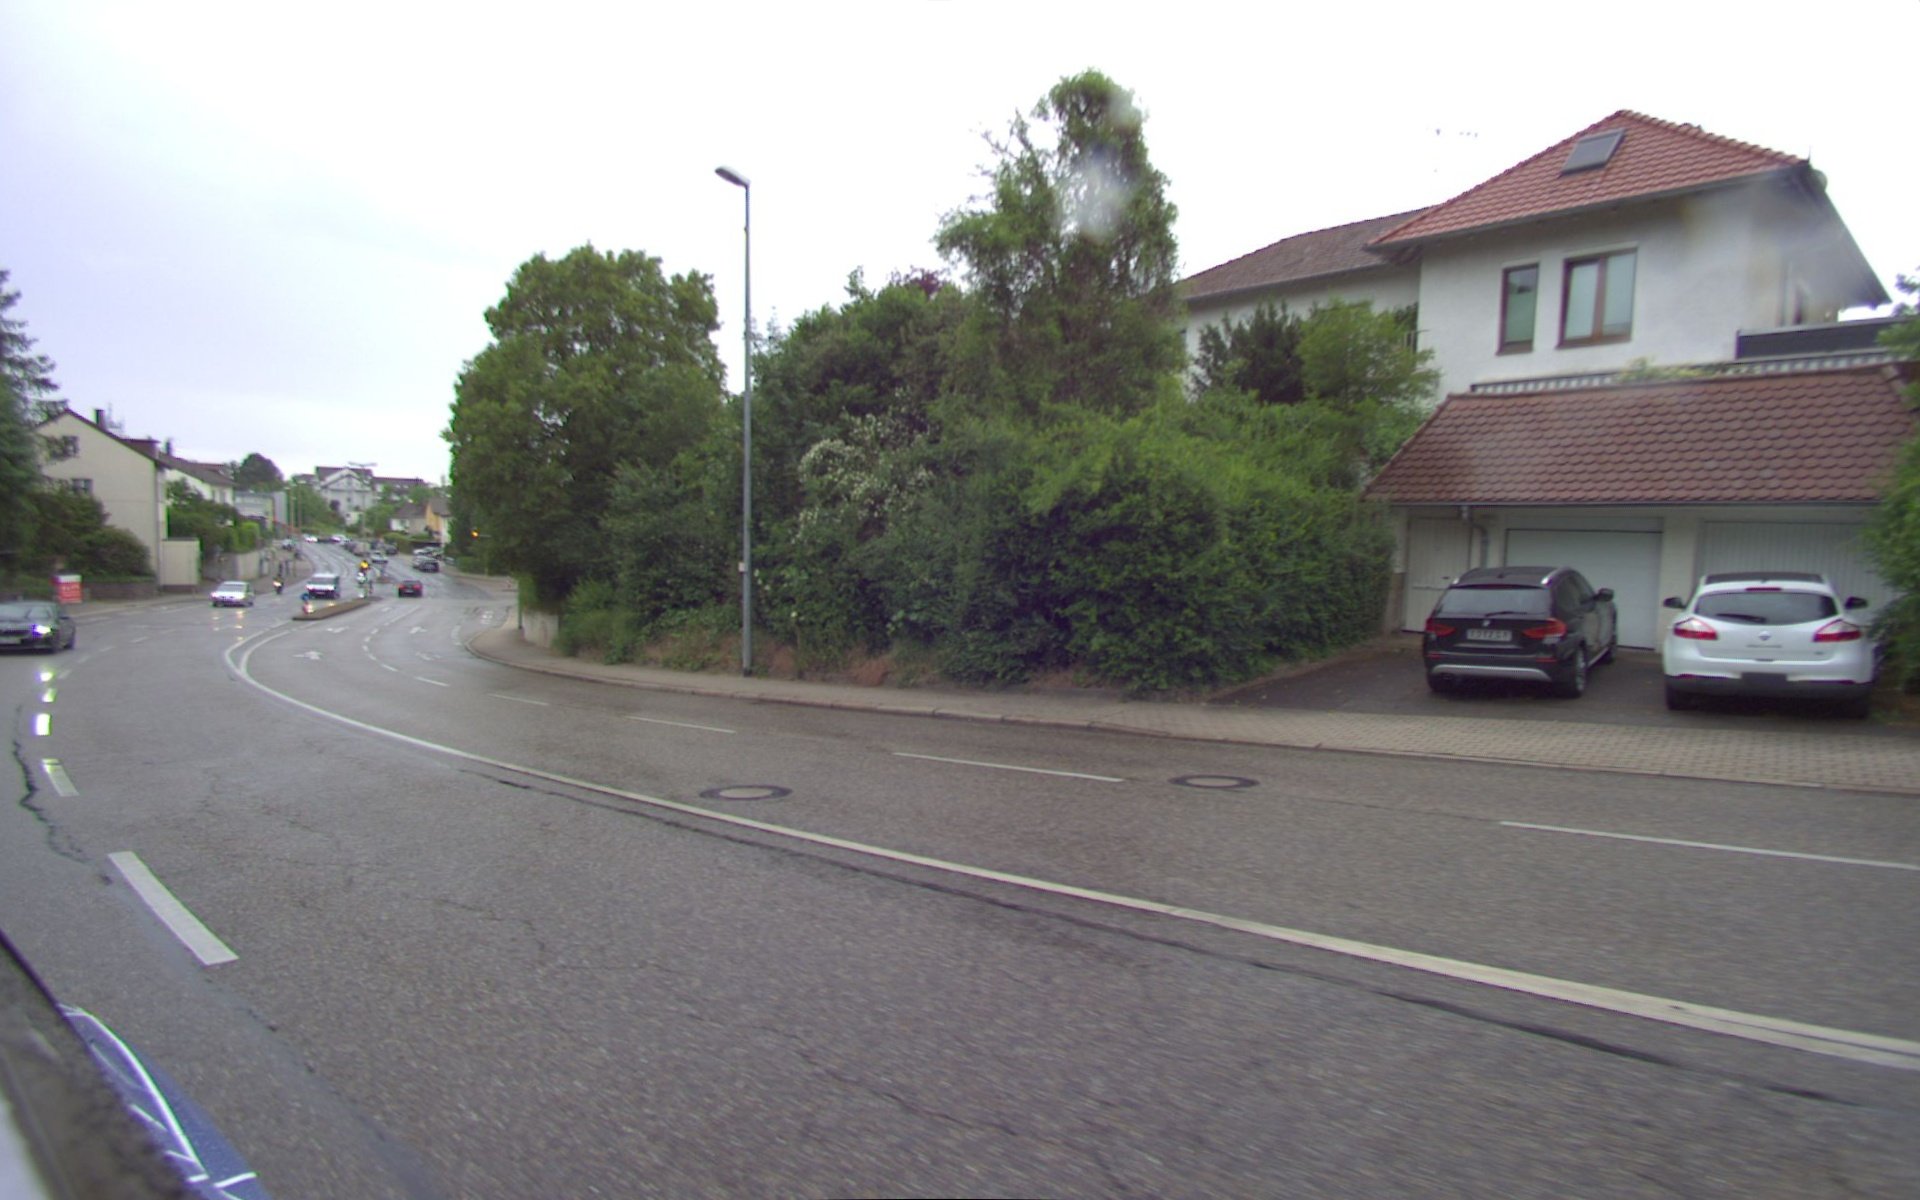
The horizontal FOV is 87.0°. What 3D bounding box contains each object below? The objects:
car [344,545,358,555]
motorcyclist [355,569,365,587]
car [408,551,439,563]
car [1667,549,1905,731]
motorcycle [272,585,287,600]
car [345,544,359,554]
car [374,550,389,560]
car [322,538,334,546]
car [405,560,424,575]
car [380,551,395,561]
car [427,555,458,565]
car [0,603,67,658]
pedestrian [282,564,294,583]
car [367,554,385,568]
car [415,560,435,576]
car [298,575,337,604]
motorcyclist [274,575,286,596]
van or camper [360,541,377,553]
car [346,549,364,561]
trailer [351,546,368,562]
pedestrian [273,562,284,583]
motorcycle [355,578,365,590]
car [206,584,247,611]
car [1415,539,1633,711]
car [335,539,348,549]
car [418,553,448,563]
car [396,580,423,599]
[{"bbox_3d":[-101.544,-8.380,168.815,1.816,1.563,4.397,2,3,-33],"label":"car"},{"bbox_3d":[-57.004,-2.086,96.216,0.749,1.614,0.811,1,4,-28],"label":"motorcyclist"},{"bbox_3d":[-87.156,-6.958,164.507,4.048,1.495,1.843,5,0,-41],"label":"car"},{"bbox_3d":[9.423,0.310,11.815,1.852,1.457,3.954,-1,6,36],"label":"car"},{"bbox_3d":[-55.193,-0.607,82.113,0.750,0.959,2.451,1,4,-29],"label":"motorcycle"},{"bbox_3d":[-108.330,-9.116,180.269,1.966,1.585,4.012,1,4,-33],"label":"car"},{"bbox_3d":[-96.887,-7.580,169.424,1.781,1.426,4.011,1,3,-36],"label":"car"},{"bbox_3d":[-126.699,-11.672,202.864,1.689,1.513,4.011,1,4,-35],"label":"car"},{"bbox_3d":[-70.227,-4.187,130.226,1.780,1.580,4.155,1,4,-34],"label":"car"},{"bbox_3d":[-93.208,-7.144,164.707,1.780,1.426,4.012,1,3,-34],"label":"car"},{"bbox_3d":[-77.571,-6.023,151.639,3.933,1.430,1.890,-3,6,-34],"label":"car"},{"bbox_3d":[-27.630,0.856,29.763,1.812,1.468,4.008,1,0,-39],"label":"car"},{"bbox_3d":[-67.354,-2.662,101.427,0.782,1.793,1.015,3,3,-28],"label":"pedestrian"},{"bbox_3d":[-80.803,-5.366,140.009,1.799,1.669,4.478,2,3,-35],"label":"car"},{"bbox_3d":[-66.263,-3.989,125.315,1.780,1.681,4.612,1,4,-34],"label":"car"},{"bbox_3d":[-49.619,-0.820,78.266,1.923,1.884,4.763,2,3,-26],"label":"car"},{"bbox_3d":[-55.158,-1.161,82.115,0.749,1.614,0.811,1,4,-29],"label":"motorcyclist"},{"bbox_3d":[-108.977,-9.767,186.418,2.155,2.028,5.149,1,4,-35],"label":"van or camper"},{"bbox_3d":[-95.209,-7.062,159.333,1.875,1.695,4.489,1,2,-38],"label":"car"},{"bbox_3d":[-92.549,-7.082,155.938,1.871,2.195,4.045,1,3,-38],"label":"trailer"},{"bbox_3d":[-67.120,-2.710,99.710,0.786,2.028,0.737,1,4,-28],"label":"pedestrian"},{"bbox_3d":[-57.149,-1.564,96.424,0.750,0.959,2.451,1,4,-29],"label":"motorcycle"},{"bbox_3d":[-46.903,-0.192,64.787,1.811,1.492,4.012,1,2,-32],"label":"car"},{"bbox_3d":[7.708,0.199,13.650,1.854,1.690,3.949,0,7,40],"label":"car"},{"bbox_3d":[-116.891,-10.612,191.290,1.811,1.567,4.784,1,4,-35],"label":"car"},{"bbox_3d":[-83.307,-6.646,159.952,4.043,1.430,1.890,-1,5,-34],"label":"car"},{"bbox_3d":[-46.741,-0.929,86.040,1.865,1.498,4.248,2,1,-27],"label":"car"}]
